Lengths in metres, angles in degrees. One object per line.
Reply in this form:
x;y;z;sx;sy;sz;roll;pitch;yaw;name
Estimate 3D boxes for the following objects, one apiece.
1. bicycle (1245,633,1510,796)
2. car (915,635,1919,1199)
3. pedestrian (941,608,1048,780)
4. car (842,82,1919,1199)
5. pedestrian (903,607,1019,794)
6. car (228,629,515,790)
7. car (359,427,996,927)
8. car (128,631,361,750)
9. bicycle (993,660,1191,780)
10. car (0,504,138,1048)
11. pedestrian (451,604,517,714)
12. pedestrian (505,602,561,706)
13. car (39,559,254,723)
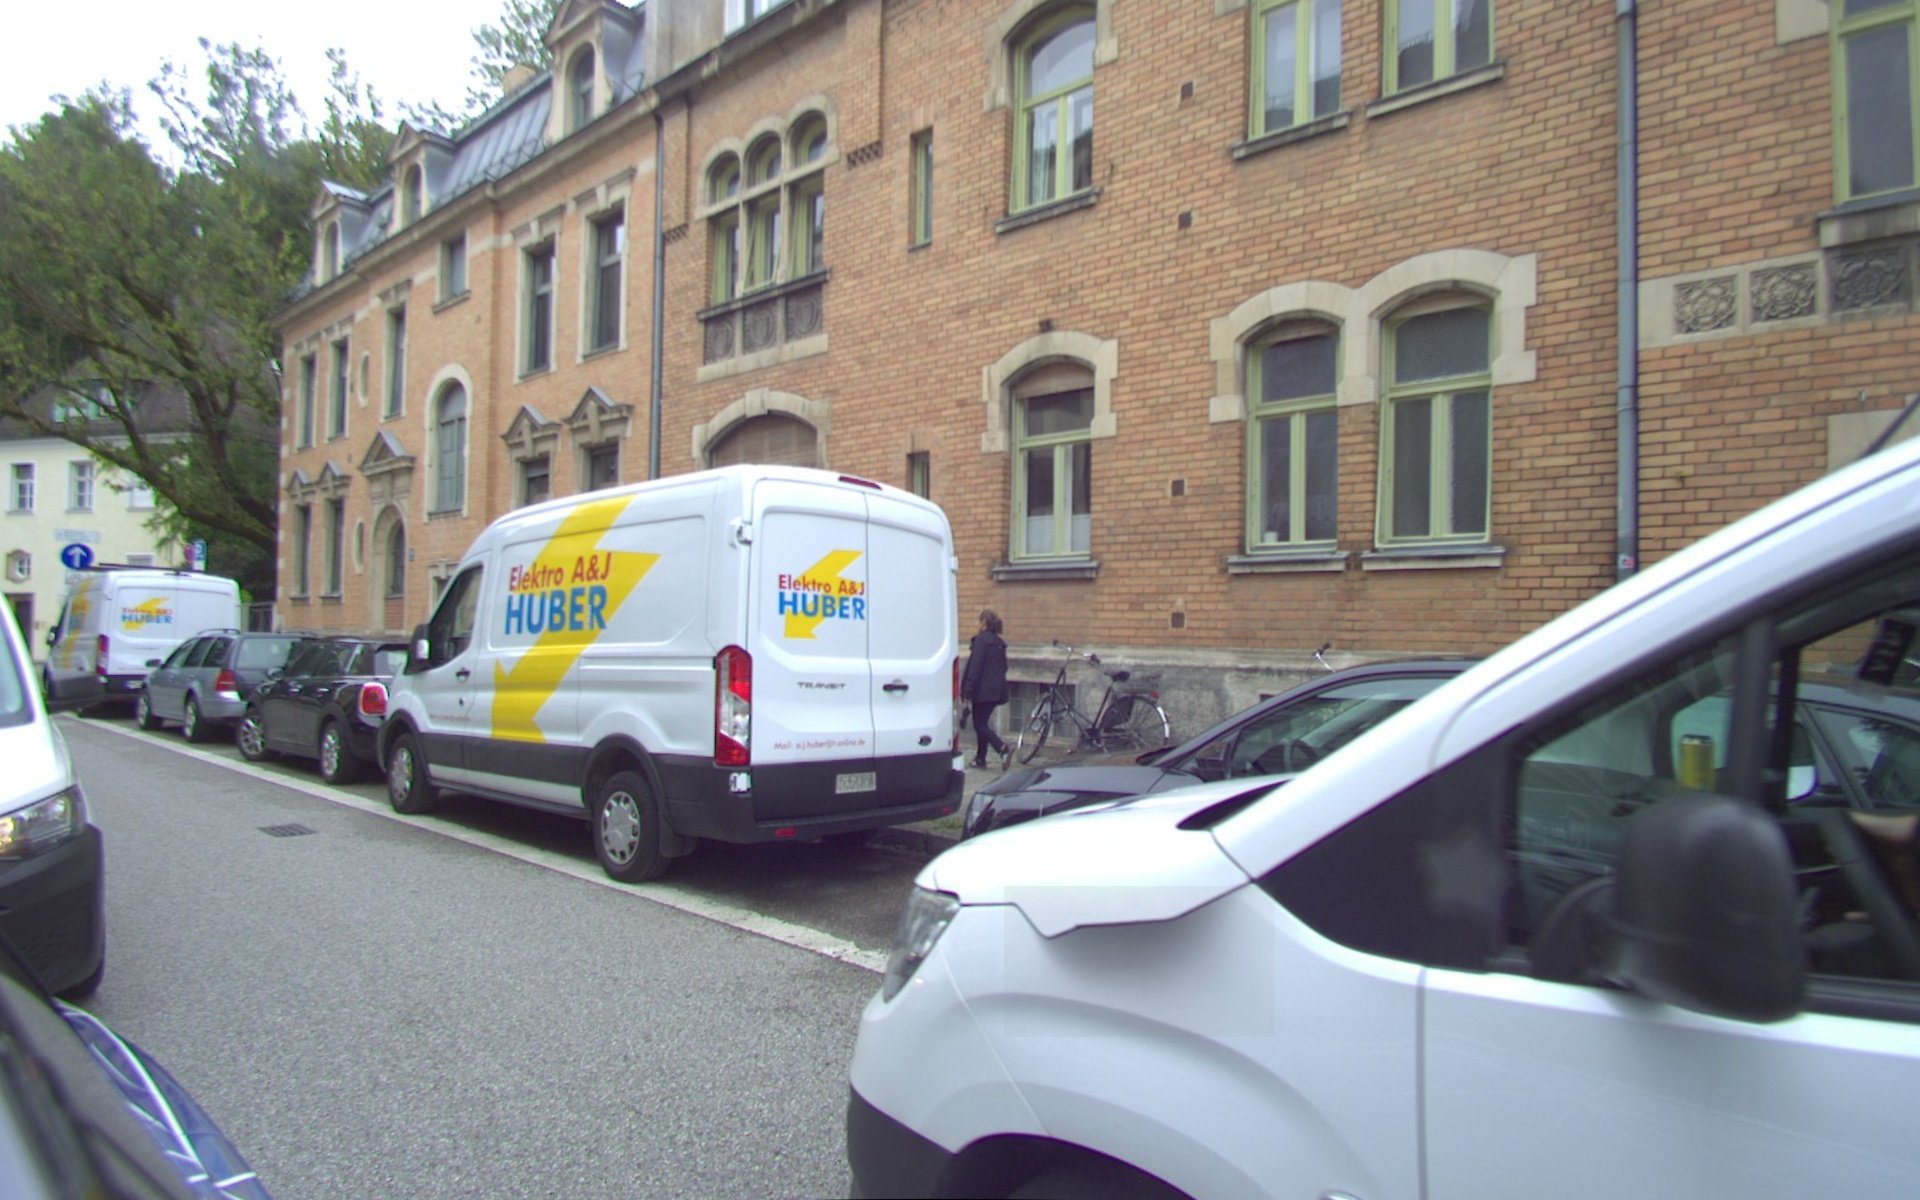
3.239;0.831;7.973;1.827;1.137;0.624;-1;-2;41;bicycle
1.926;0.894;3.868;4.142;1.454;1.673;-1;-4;40;car
0.324;0.845;9.562;0.728;1.524;0.688;-1;0;43;pedestrian
2.094;0.479;0.879;4.569;1.817;1.753;-1;-3;41;car
0.007;0.826;8.818;0.728;1.524;0.688;-1;0;43;pedestrian
-6.425;1.074;10.925;3.538;1.454;1.507;-2;-5;40;car
-2.391;0.462;7.536;5.220;2.497;1.961;-1;-4;41;car
-10.187;1.197;14.317;3.981;1.454;1.673;-2;-5;40;car
1.225;1.107;9.736;1.923;0.993;0.496;-2;-1;41;bicycle
-5.013;0.592;4.239;3.998;1.785;1.753;-1;-3;41;car
-7.355;0.911;15.641;0.675;1.645;0.625;-1;-4;41;pedestrian
-6.953;0.877;16.488;0.467;1.645;0.625;-1;-4;40;pedestrian
-14.599;0.779;18.088;4.418;2.560;2.091;-2;-6;41;car
